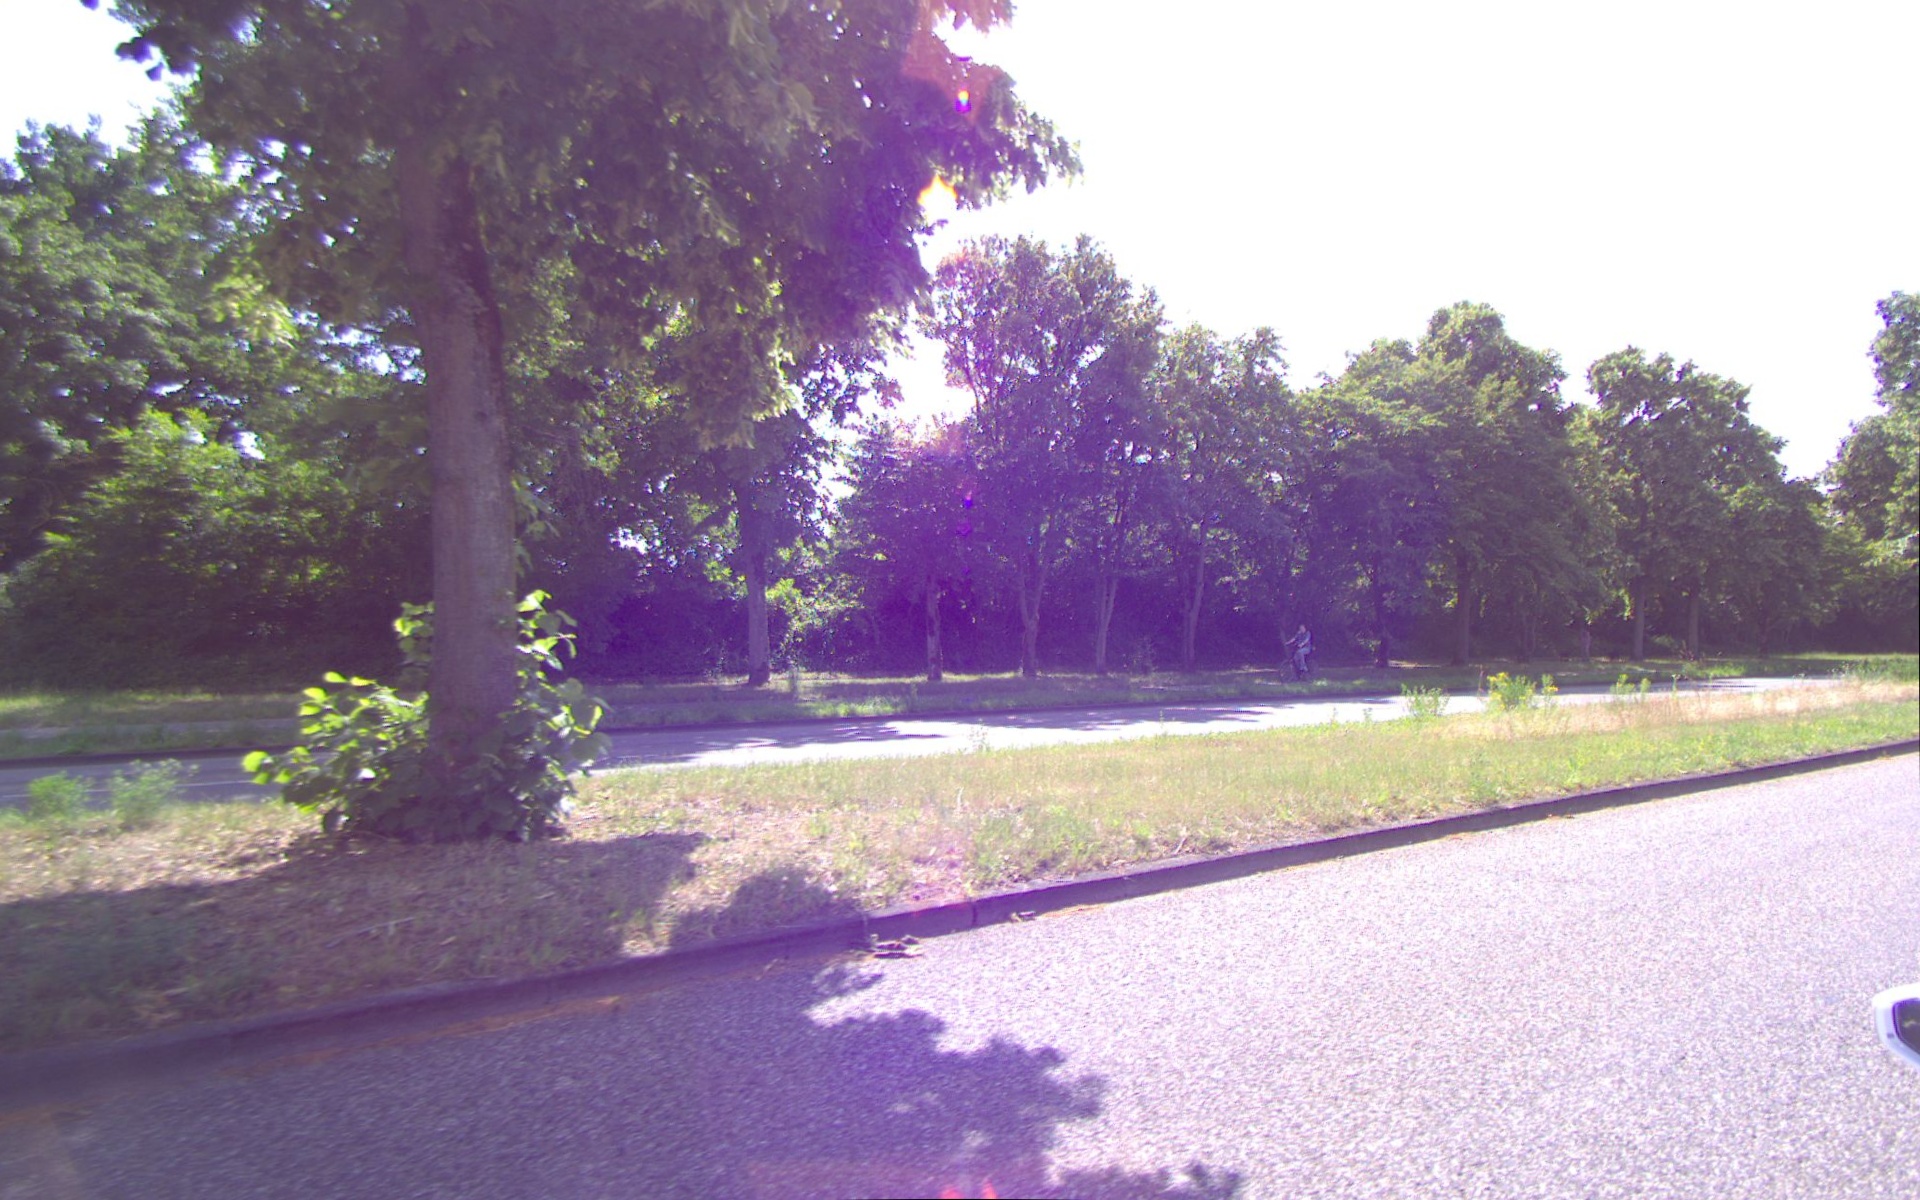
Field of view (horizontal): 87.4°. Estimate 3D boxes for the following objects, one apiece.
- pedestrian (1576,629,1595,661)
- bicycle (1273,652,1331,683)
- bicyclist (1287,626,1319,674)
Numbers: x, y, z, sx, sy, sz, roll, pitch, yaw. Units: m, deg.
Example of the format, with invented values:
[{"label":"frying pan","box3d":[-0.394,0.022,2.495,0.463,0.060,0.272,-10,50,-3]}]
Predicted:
[{"label":"pedestrian","box3d":[32.992,2.389,52.976,0.649,1.652,0.640,1,0,-32]},{"label":"bicycle","box3d":[10.532,2.063,30.939,1.892,0.890,0.615,1,-2,-30]},{"label":"bicyclist","box3d":[10.588,1.532,30.983,0.721,1.467,0.615,1,-2,-30]}]
